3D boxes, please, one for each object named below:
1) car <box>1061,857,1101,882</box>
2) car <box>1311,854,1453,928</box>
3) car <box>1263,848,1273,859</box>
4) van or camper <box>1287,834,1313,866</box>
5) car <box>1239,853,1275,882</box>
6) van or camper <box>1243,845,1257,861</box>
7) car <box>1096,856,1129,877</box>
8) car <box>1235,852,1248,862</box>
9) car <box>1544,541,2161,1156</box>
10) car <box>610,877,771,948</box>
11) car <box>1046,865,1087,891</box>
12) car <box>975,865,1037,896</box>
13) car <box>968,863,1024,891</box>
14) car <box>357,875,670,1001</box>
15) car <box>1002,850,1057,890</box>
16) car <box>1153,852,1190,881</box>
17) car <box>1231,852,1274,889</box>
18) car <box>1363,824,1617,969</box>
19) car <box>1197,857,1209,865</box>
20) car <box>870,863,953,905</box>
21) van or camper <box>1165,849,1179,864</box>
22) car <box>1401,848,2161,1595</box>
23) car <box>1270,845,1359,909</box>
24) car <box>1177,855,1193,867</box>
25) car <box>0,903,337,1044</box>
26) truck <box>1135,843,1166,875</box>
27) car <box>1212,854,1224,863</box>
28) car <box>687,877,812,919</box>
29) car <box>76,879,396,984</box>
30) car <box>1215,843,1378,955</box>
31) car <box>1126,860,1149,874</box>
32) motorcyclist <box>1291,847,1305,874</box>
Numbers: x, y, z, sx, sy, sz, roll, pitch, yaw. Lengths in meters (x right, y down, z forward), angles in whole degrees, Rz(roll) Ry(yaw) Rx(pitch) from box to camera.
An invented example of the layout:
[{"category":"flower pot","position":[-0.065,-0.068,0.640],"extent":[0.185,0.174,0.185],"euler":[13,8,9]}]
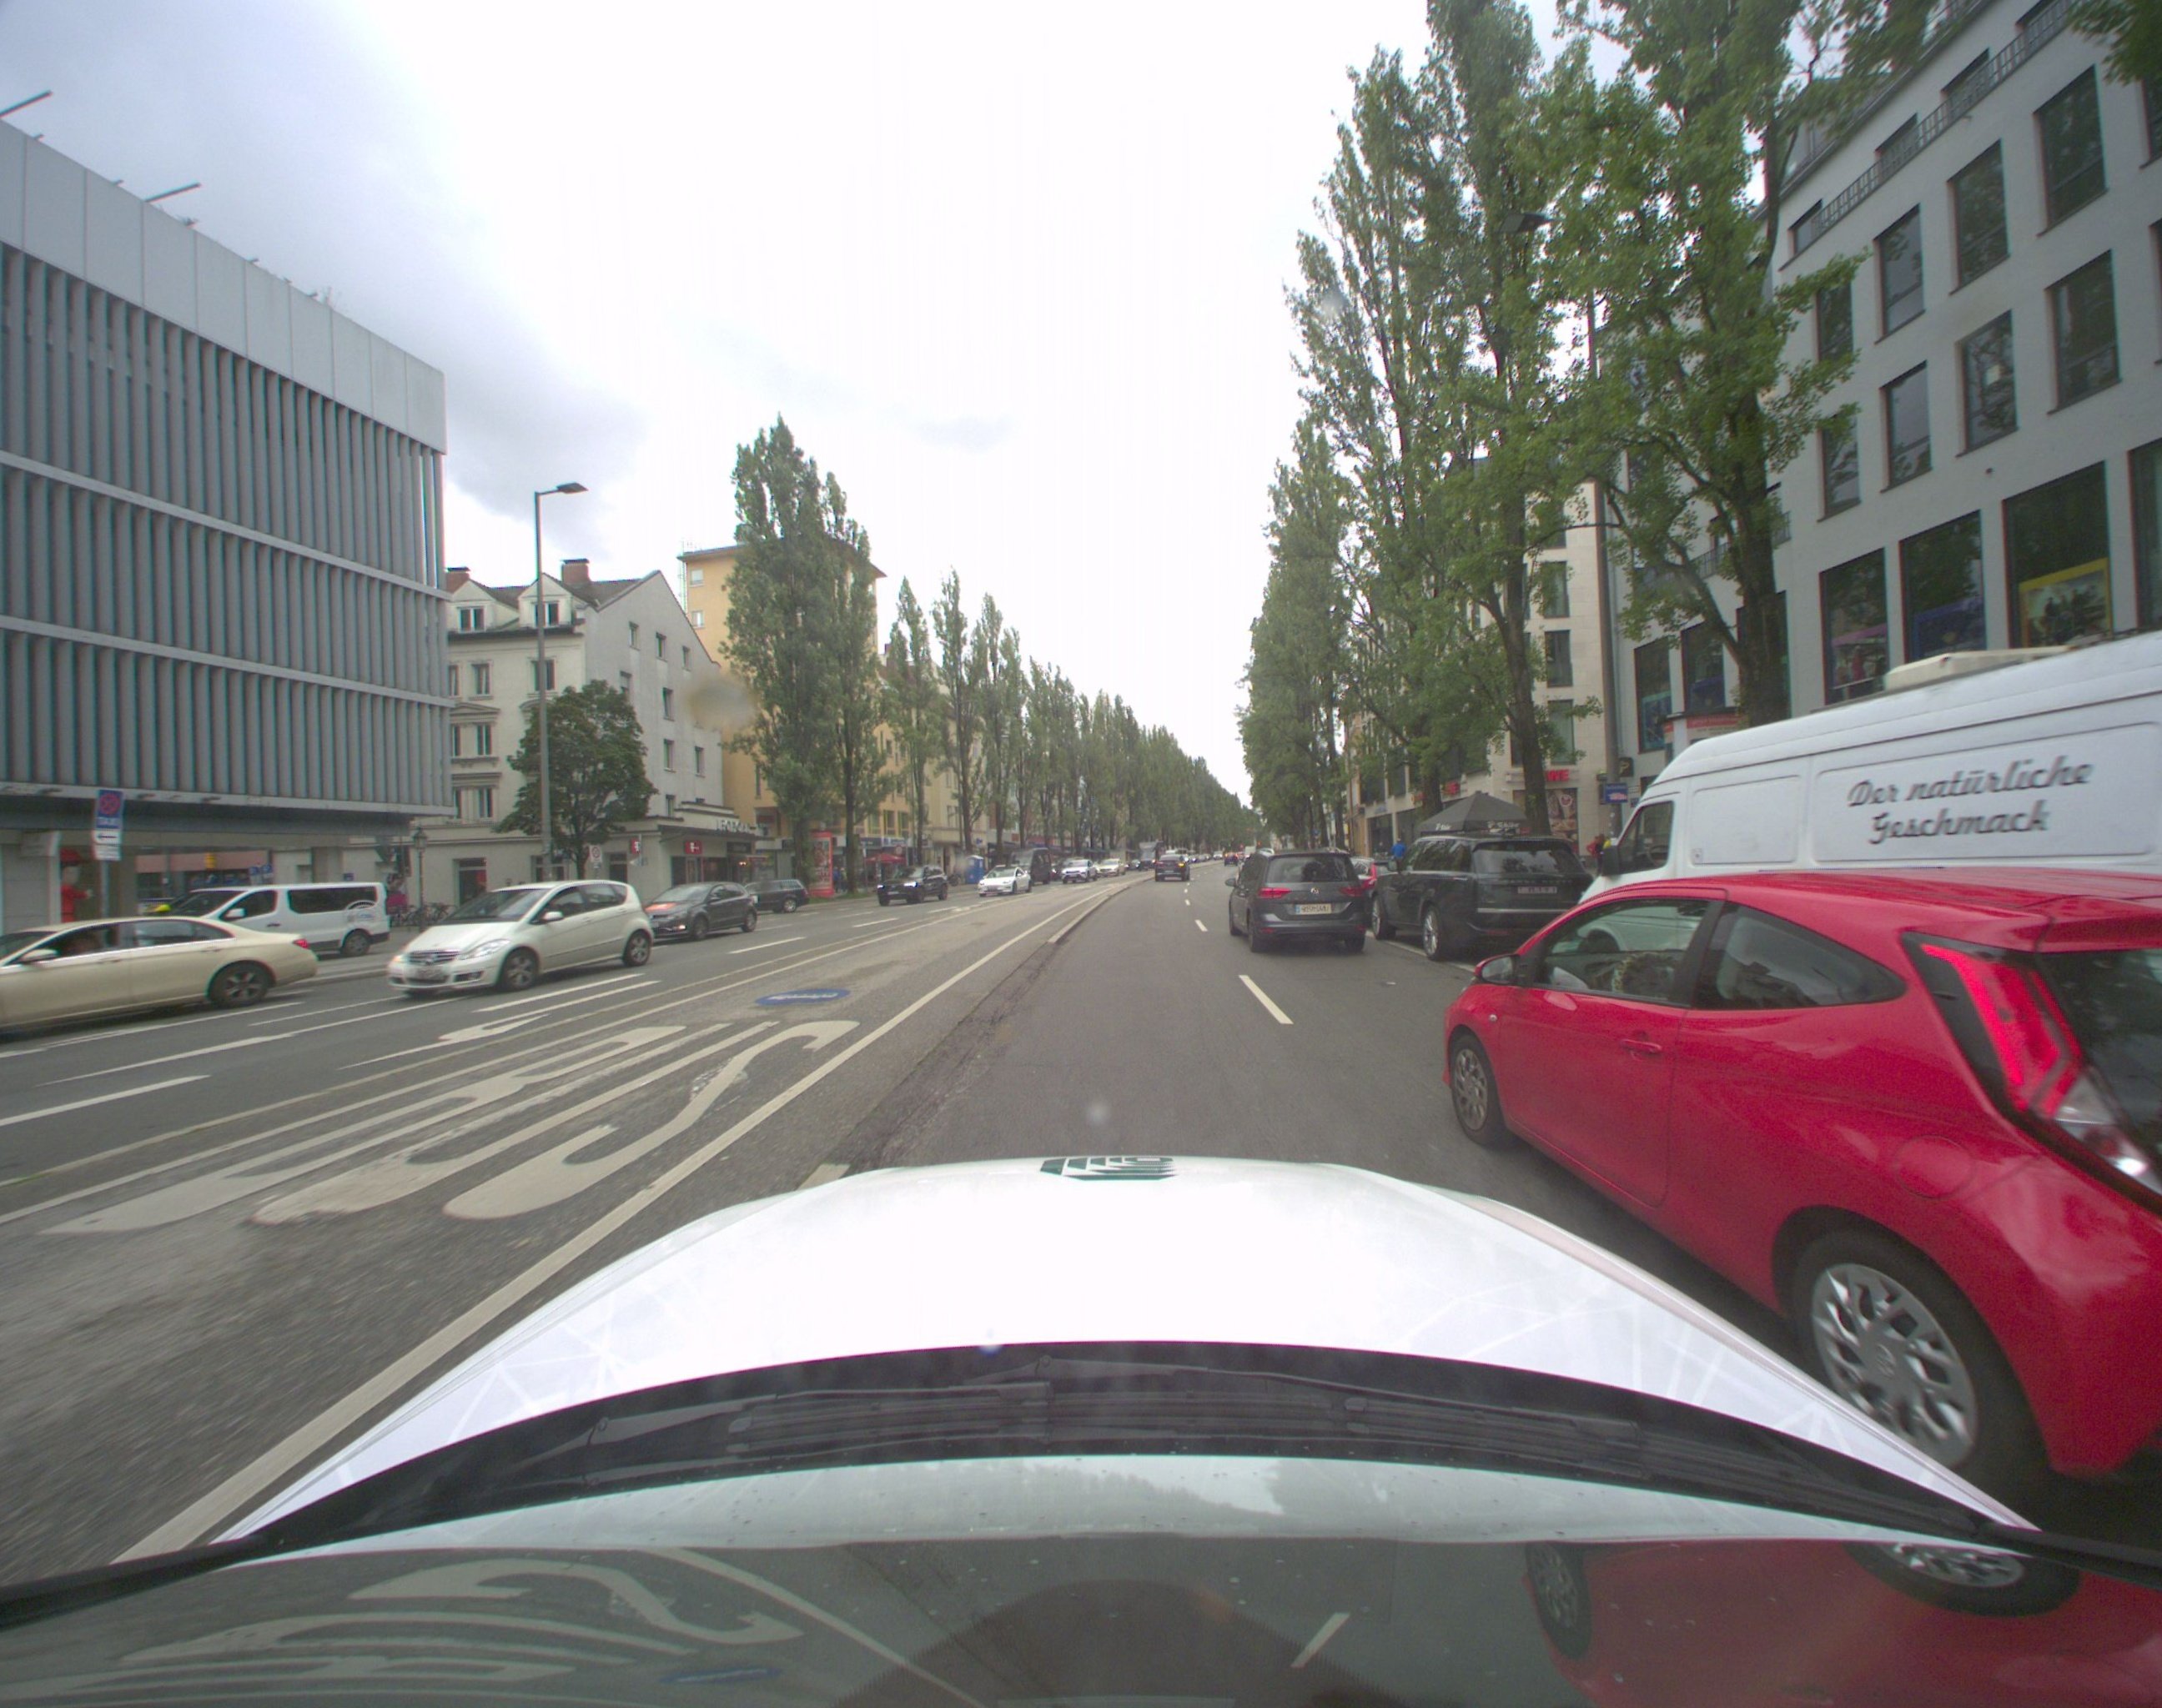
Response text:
[{"category":"car","position":[0.056,1.079,58.238],"extent":[1.896,1.603,4.370],"euler":[-3,-1,12]},{"category":"car","position":[6.529,0.737,18.219],"extent":[1.763,1.433,4.576],"euler":[-1,0,4]},{"category":"car","position":[35.635,-0.047,154.940],"extent":[1.792,1.992,4.015],"euler":[-1,-1,14]},{"category":"van or camper","position":[23.329,-0.421,86.880],"extent":[2.442,3.112,4.734],"euler":[-3,-1,15]},{"category":"car","position":[10.089,0.732,46.990],"extent":[1.799,1.500,4.819],"euler":[-3,-1,10]},{"category":"van or camper","position":[27.488,-0.098,132.400],"extent":[2.020,2.476,4.014],"euler":[-2,-2,14]},{"category":"car","position":[2.782,1.080,71.164],"extent":[1.981,1.589,5.211],"euler":[-4,-1,11]},{"category":"car","position":[30.619,0.586,155.578],"extent":[1.978,1.717,4.017],"euler":[-3,-1,16]},{"category":"car","position":[5.938,0.007,6.085],"extent":[1.985,2.742,5.558],"euler":[-1,-1,3]},{"category":"car","position":[-9.825,1.415,20.875],"extent":[1.774,1.466,4.007],"euler":[-3,0,6]},{"category":"car","position":[-1.176,2.004,69.063],"extent":[1.980,1.863,5.732],"euler":[-4,-1,13]},{"category":"car","position":[-3.825,1.329,42.303],"extent":[1.787,1.394,4.707],"euler":[-3,0,13]},{"category":"car","position":[-6.204,1.667,60.222],"extent":[2.155,1.763,6.085],"euler":[-3,-1,13]},{"category":"car","position":[-8.922,1.235,13.317],"extent":[1.942,1.589,4.008],"euler":[-3,-1,7]},{"category":"car","position":[-3.598,1.057,58.013],"extent":[2.155,2.605,6.085],"euler":[-3,-1,13]},{"category":"car","position":[5.620,0.731,50.046],"extent":[1.869,1.642,4.596],"euler":[-3,0,10]},{"category":"car","position":[8.568,0.809,40.895],"extent":[1.913,1.700,4.662],"euler":[-1,-1,10]},{"category":"car","position":[5.962,0.557,12.647],"extent":[1.919,1.805,4.787],"euler":[-1,0,6]},{"category":"car","position":[21.542,1.245,143.834],"extent":[1.700,1.414,3.736],"euler":[-3,0,13]},{"category":"car","position":[-7.758,1.336,37.807],"extent":[2.006,1.716,4.995],"euler":[-3,-1,9]},{"category":"van or camper","position":[16.406,0.429,146.998],"extent":[1.979,2.458,4.267],"euler":[-2,0,14]},{"category":"car","position":[2.797,0.731,3.371],"extent":[1.658,1.446,3.598],"euler":[-1,-1,3]},{"category":"car","position":[6.885,0.642,24.430],"extent":[1.719,1.686,4.414],"euler":[-1,0,5]},{"category":"car","position":[15.484,1.056,121.103],"extent":[1.926,1.642,4.480],"euler":[-3,-1,13]},{"category":"car","position":[-13.708,1.619,11.073],"extent":[1.843,1.469,5.002],"euler":[-5,-1,15]},{"category":"truck","position":[7.841,0.493,91.378],"extent":[2.275,3.323,7.183],"euler":[-4,-1,13]},{"category":"car","position":[29.934,0.947,178.492],"extent":[1.986,2.014,4.001],"euler":[-1,-1,1]},{"category":"car","position":[-14.009,1.818,34.553],"extent":[4.528,1.439,1.907],"euler":[-3,-1,-37]},{"category":"car","position":[-20.152,1.737,19.869],"extent":[1.981,2.013,5.126],"euler":[-3,0,10]},{"category":"car","position":[3.534,0.684,14.131],"extent":[1.755,1.614,4.184],"euler":[-1,0,1]},{"category":"car","position":[6.740,1.533,97.243],"extent":[1.925,1.434,4.556],"euler":[-3,-1,14]},{"category":"motorcyclist","position":[11.692,0.358,43.902],"extent":[0.560,1.406,0.768],"euler":[-3,-1,10]}]
